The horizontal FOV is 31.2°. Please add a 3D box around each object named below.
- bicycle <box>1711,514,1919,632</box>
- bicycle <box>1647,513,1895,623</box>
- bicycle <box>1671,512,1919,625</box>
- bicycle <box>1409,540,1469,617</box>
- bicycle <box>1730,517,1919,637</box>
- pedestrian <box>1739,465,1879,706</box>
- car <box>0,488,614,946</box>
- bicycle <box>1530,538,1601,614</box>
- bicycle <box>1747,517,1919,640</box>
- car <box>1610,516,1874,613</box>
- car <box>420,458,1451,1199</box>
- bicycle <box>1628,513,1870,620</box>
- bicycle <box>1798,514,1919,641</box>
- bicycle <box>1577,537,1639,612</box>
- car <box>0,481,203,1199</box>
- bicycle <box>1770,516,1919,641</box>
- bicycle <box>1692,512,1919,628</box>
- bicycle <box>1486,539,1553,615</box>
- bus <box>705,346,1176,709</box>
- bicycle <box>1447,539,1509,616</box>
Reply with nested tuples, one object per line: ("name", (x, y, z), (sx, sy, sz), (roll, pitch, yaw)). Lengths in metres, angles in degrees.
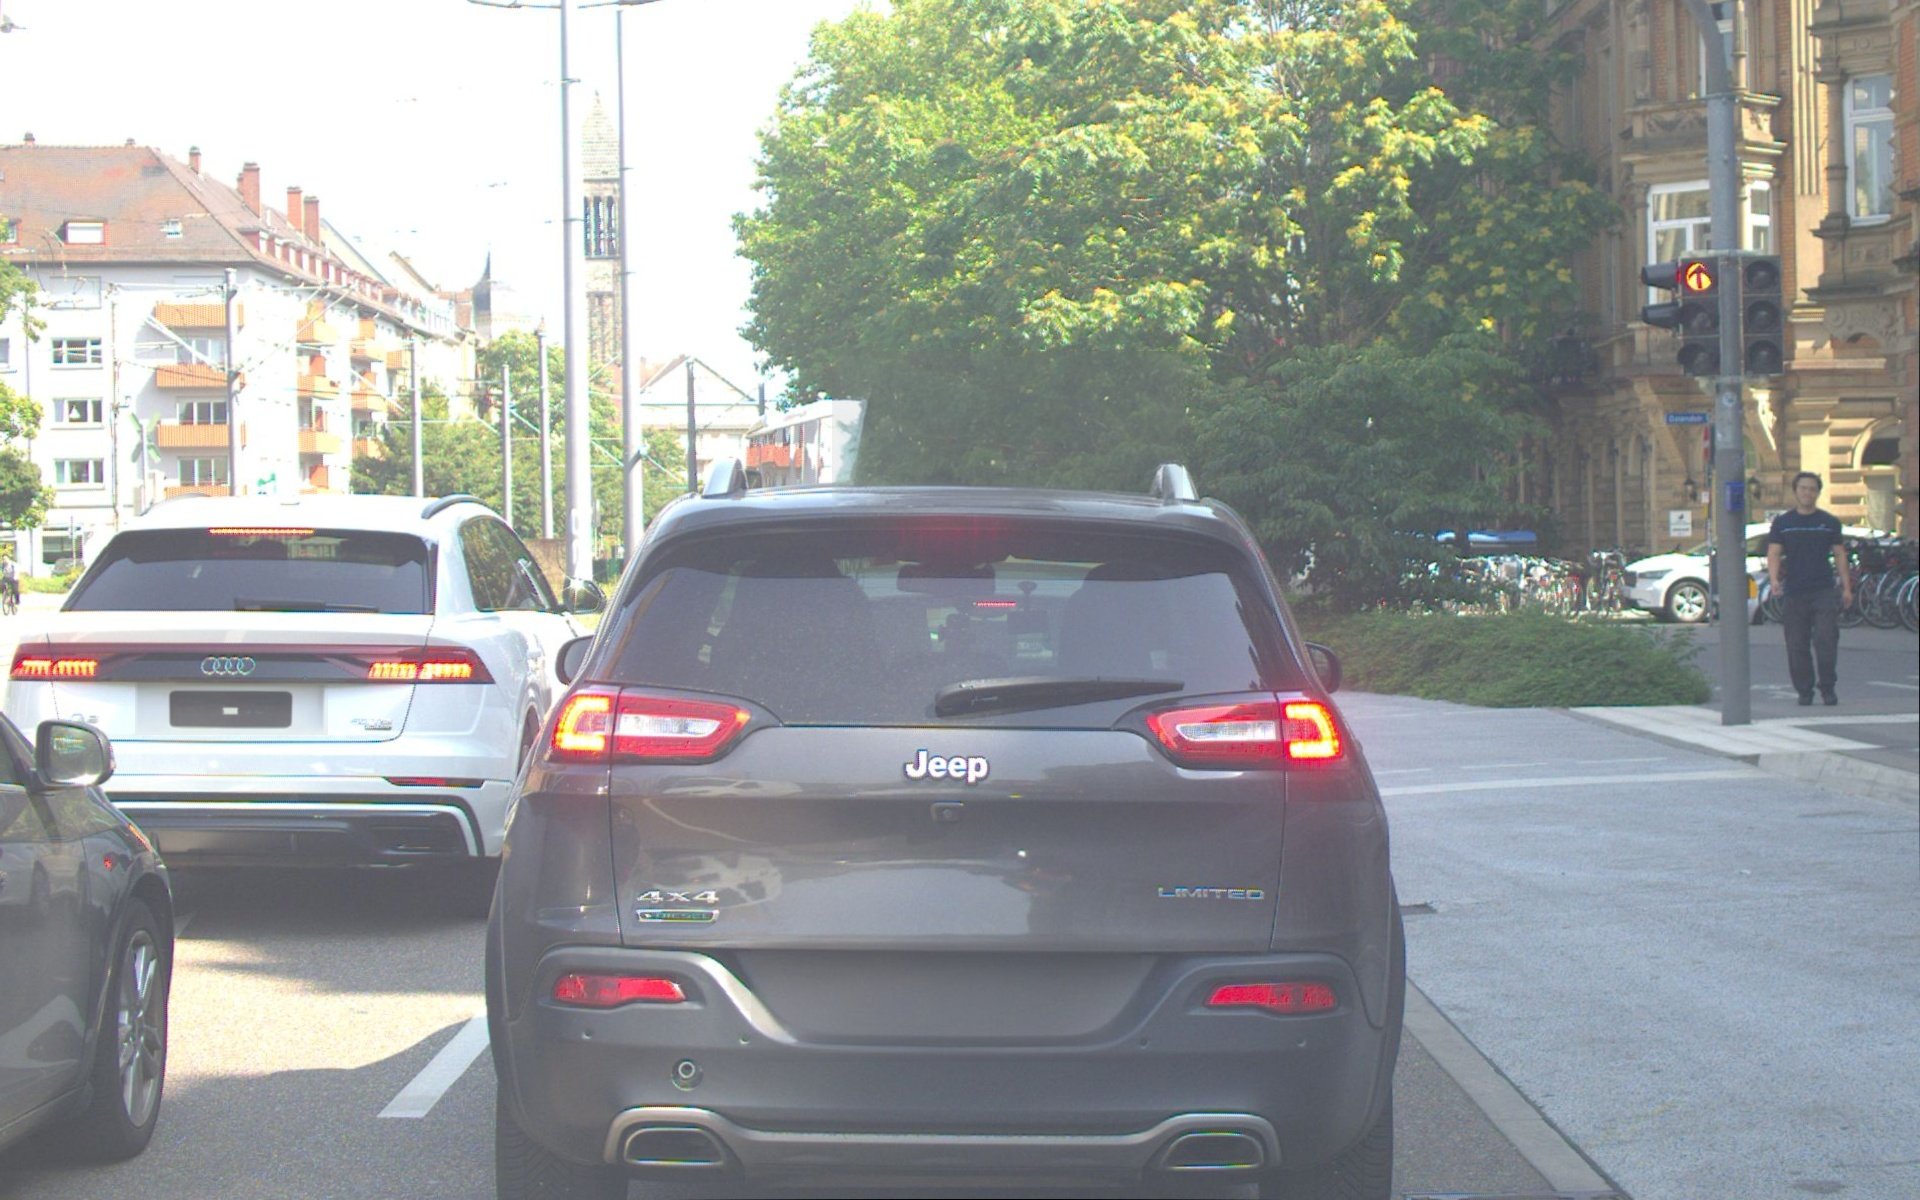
("bicycle", (10.731, -0.341, 41.705), (3.003, 1.368, 0.947), (-1, 1, -1))
("bicycle", (10.628, -0.421, 45.127), (3.003, 1.368, 0.947), (-1, 1, -1))
("bicycle", (10.680, -0.406, 43.809), (3.003, 1.368, 0.947), (-1, 1, -1))
("bicycle", (8.136, -0.381, 58.471), (0.649, 1.249, 3.014), (-1, 1, 2))
("bicycle", (10.742, -0.286, 40.762), (2.993, 1.366, 0.871), (-1, 1, -1))
("pedestrian", (6.333, -0.111, 25.677), (0.899, 1.735, 0.768), (-2, 1, 10))
("car", (-2.612, 0.372, 14.513), (1.902, 1.646, 4.309), (0, 1, 0))
("bicycle", (10.286, -0.424, 58.459), (0.763, 1.249, 3.014), (-1, 1, 2))
("bicycle", (10.729, -0.264, 39.814), (2.993, 1.366, 0.871), (-1, 1, -1))
("car", (13.052, -0.604, 57.473), (3.931, 1.515, 1.683), (-1, 1, -7))
("car", (-0.026, 0.530, 8.306), (1.832, 1.646, 4.308), (0, 1, 1))
("bicycle", (10.576, -0.456, 46.168), (3.003, 1.368, 0.947), (-1, 1, -1))
("bicycle", (10.881, -0.275, 37.995), (2.993, 1.366, 0.871), (-1, 1, -1))
("bicycle", (11.086, -0.448, 58.892), (0.658, 1.245, 2.412), (-1, 1, 2))
("car", (-2.810, 0.563, 6.704), (1.747, 1.609, 4.309), (0, 1, 0))
("bicycle", (10.778, -0.264, 38.901), (2.993, 1.366, 0.871), (-1, 1, -1))
("bicycle", (10.730, -0.382, 42.799), (3.003, 1.368, 0.947), (-1, 1, -1))
("bicycle", (9.497, -0.408, 58.444), (0.732, 1.249, 3.014), (-1, 1, 2))
("bus", (-0.594, -0.695, 36.647), (2.742, 3.096, 11.959), (-4, 1, -11))
("bicycle", (8.797, -0.397, 58.446), (0.649, 1.249, 3.014), (-1, 1, 2))
